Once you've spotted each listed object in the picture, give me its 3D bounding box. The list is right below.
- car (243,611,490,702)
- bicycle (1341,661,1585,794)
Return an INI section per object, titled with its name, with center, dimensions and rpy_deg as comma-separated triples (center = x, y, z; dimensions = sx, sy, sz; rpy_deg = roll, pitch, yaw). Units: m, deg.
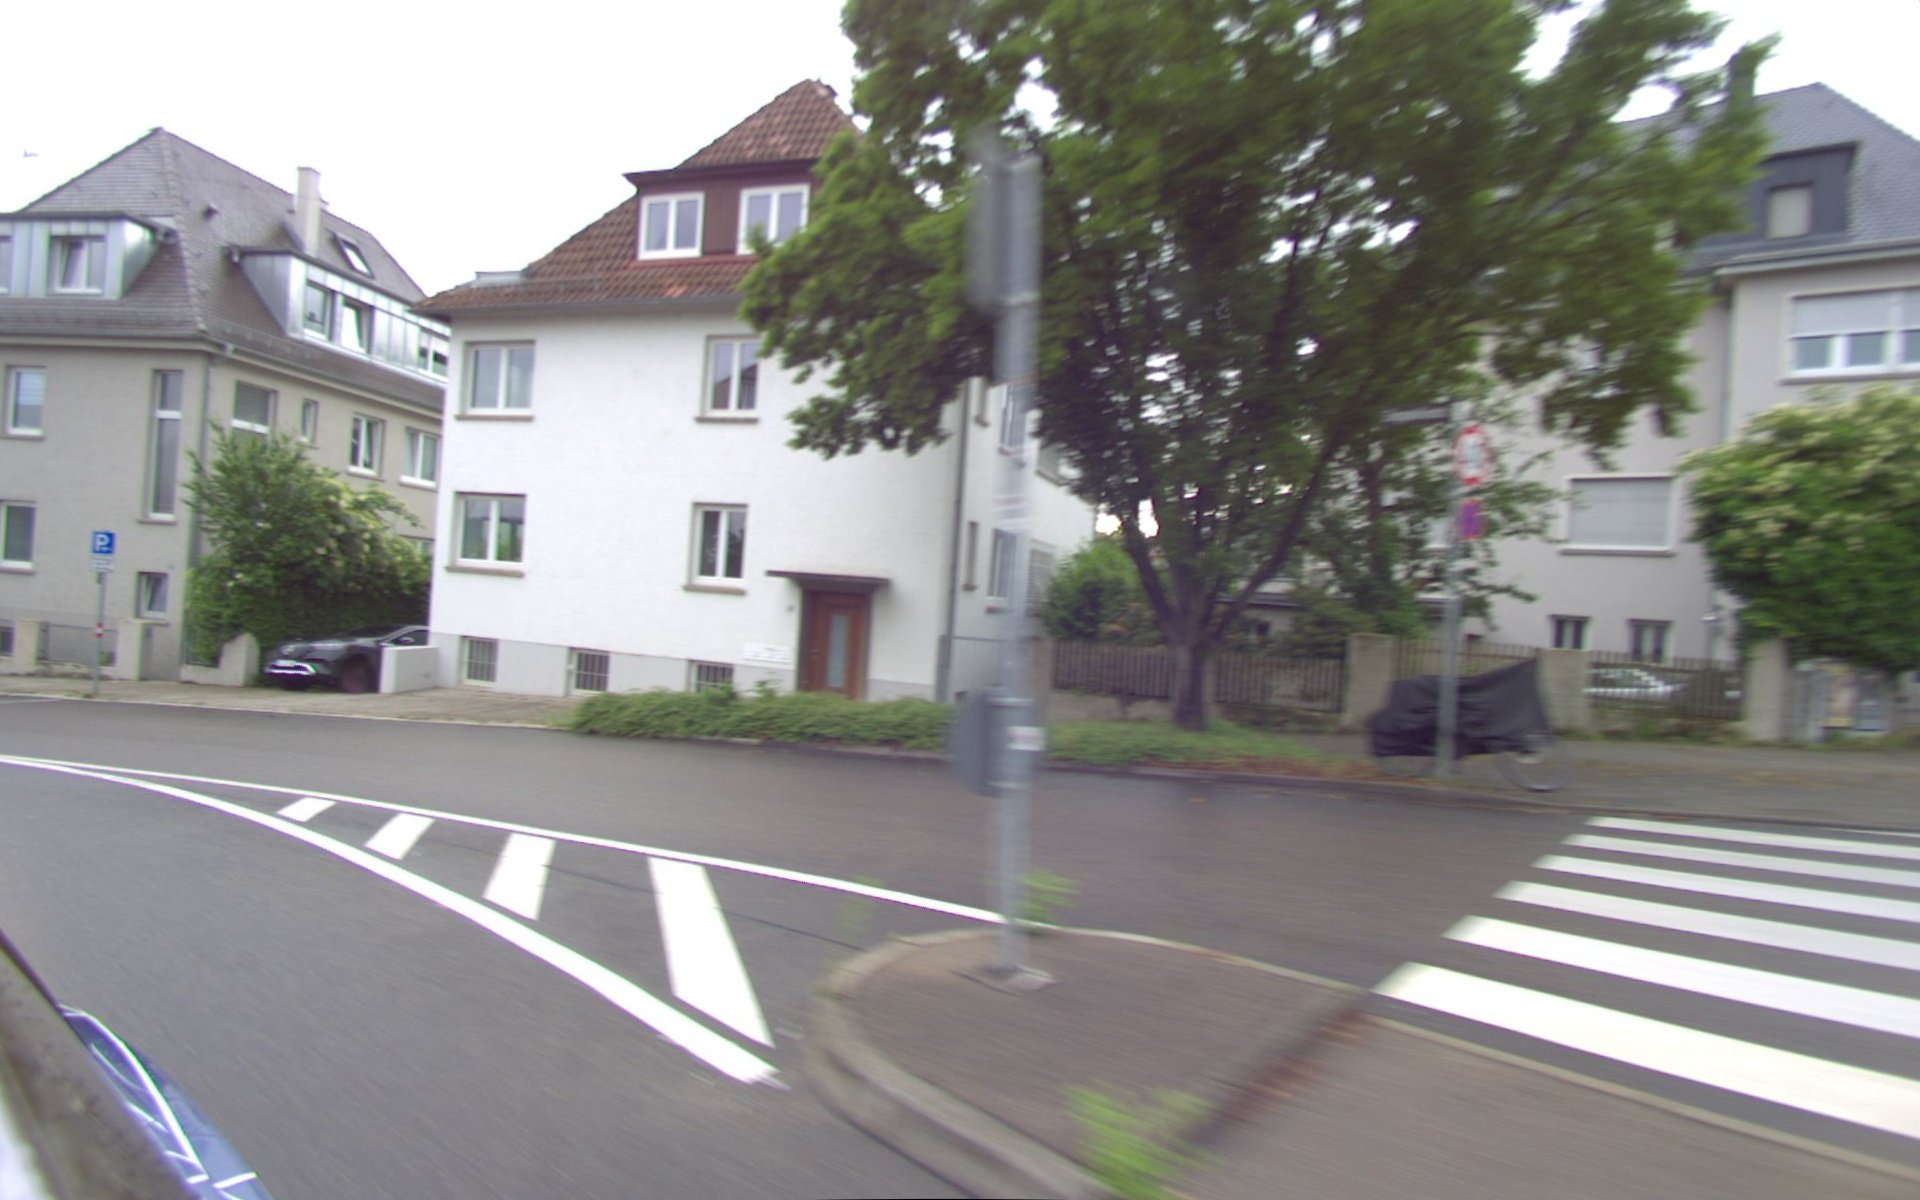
[car]
center = -12.286, 1.076, 21.287
dimensions = 1.984, 1.636, 4.227
rpy_deg = 1, 0, 19
[bicycle]
center = 4.606, 1.129, 9.399
dimensions = 1.963, 1.093, 0.416
rpy_deg = -3, -3, 42
